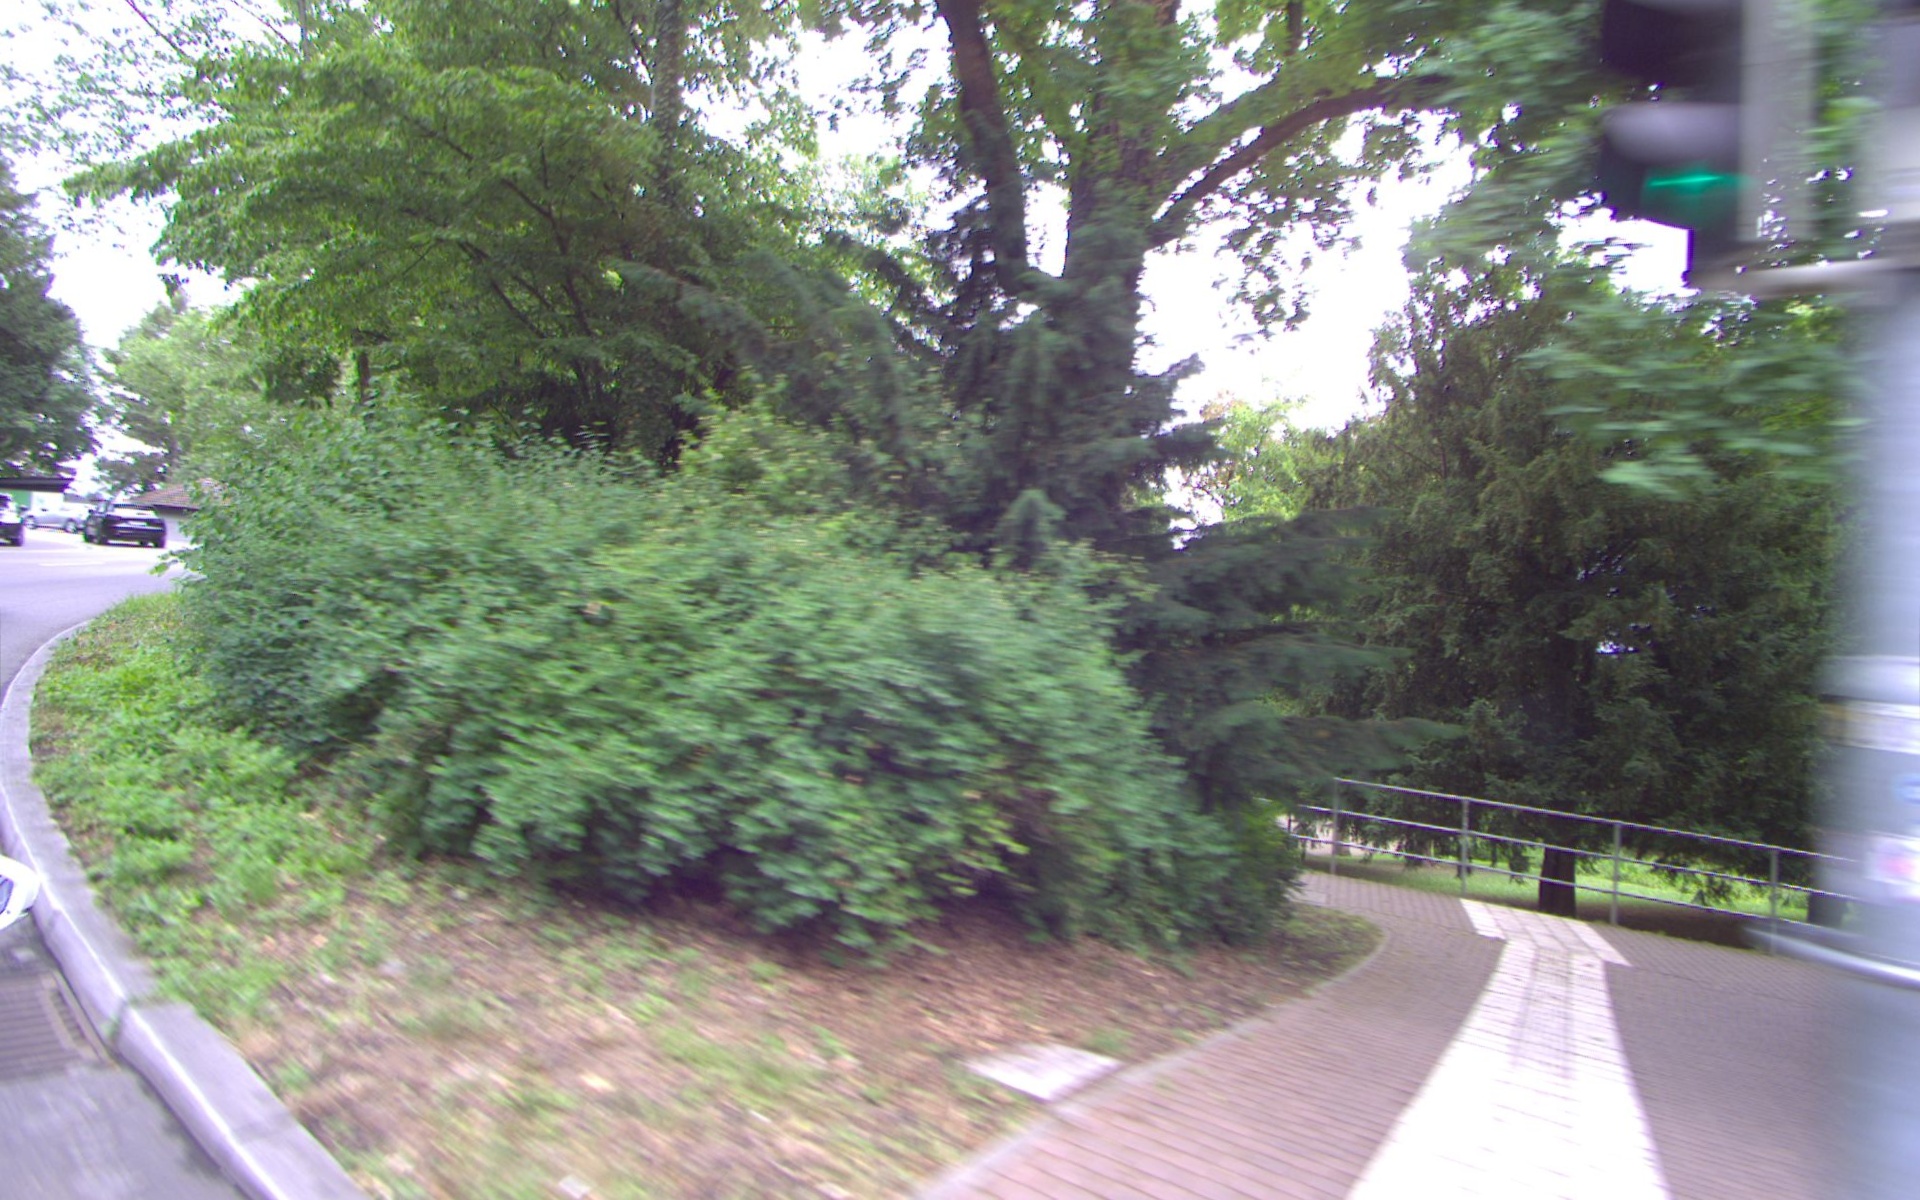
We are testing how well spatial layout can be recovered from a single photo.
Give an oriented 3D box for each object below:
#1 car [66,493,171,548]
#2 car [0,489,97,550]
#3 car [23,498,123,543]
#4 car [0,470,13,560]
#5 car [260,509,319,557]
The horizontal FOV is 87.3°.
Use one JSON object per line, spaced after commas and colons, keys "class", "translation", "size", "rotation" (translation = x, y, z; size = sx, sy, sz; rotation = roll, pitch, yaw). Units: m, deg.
{"class": "car", "translation": [-31.925, -3.031, 38.148], "size": [4.154, 1.788, 1.959], "rotation": [6, 4, 33]}
{"class": "car", "translation": [-29.788, -2.575, 31.957], "size": [1.826, 1.670, 4.496], "rotation": [5, 0, -16]}
{"class": "car", "translation": [-42.094, -3.768, 47.747], "size": [3.782, 1.434, 1.637], "rotation": [8, -4, 16]}
{"class": "car", "translation": [-10.528, -0.666, 9.214], "size": [1.744, 1.571, 4.299], "rotation": [9, -1, -33]}
{"class": "car", "translation": [-24.281, -2.366, 36.373], "size": [1.657, 1.521, 3.987], "rotation": [2, 1, -35]}
